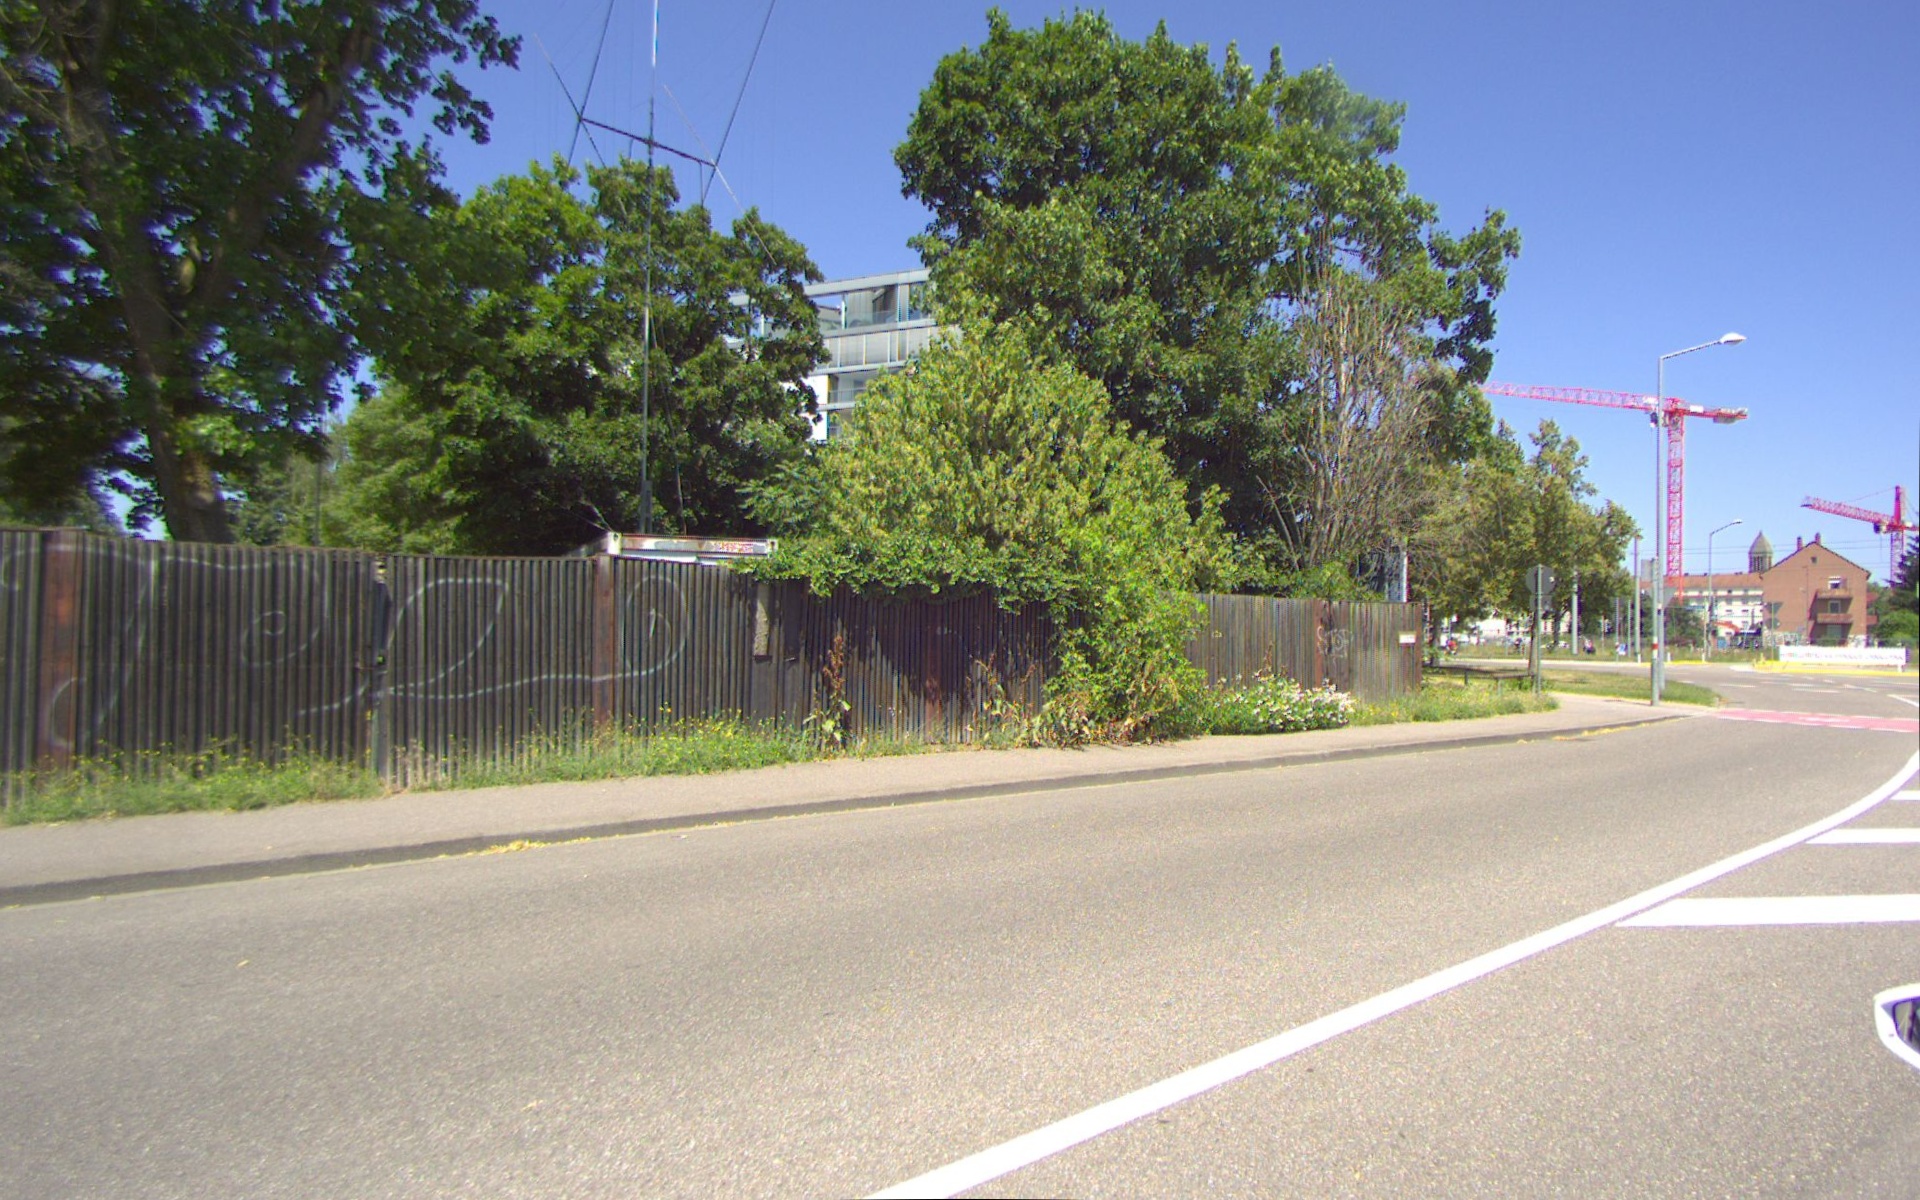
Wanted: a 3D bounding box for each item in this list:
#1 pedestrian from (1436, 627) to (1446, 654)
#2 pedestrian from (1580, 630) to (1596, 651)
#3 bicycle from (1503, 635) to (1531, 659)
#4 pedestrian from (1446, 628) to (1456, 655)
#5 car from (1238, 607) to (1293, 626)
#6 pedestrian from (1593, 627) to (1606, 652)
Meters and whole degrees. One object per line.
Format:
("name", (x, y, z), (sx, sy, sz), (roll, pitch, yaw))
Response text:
("pedestrian", (34.520, 2.894, 72.119), (0.617, 1.960, 0.646), (0, -1, 26))
("pedestrian", (51.260, 3.335, 82.020), (0.749, 1.661, 0.778), (2, 0, -17))
("bicycle", (42.316, 3.559, 76.320), (2.053, 1.707, 0.557), (2, 0, -19))
("pedestrian", (35.422, 2.989, 72.434), (0.617, 1.960, 0.646), (0, -1, 26))
("car", (21.700, 1.164, 71.419), (1.719, 1.228, 3.541), (2, 0, -27))
("pedestrian", (51.830, 3.213, 81.428), (0.588, 2.040, 0.598), (2, 0, -30))
